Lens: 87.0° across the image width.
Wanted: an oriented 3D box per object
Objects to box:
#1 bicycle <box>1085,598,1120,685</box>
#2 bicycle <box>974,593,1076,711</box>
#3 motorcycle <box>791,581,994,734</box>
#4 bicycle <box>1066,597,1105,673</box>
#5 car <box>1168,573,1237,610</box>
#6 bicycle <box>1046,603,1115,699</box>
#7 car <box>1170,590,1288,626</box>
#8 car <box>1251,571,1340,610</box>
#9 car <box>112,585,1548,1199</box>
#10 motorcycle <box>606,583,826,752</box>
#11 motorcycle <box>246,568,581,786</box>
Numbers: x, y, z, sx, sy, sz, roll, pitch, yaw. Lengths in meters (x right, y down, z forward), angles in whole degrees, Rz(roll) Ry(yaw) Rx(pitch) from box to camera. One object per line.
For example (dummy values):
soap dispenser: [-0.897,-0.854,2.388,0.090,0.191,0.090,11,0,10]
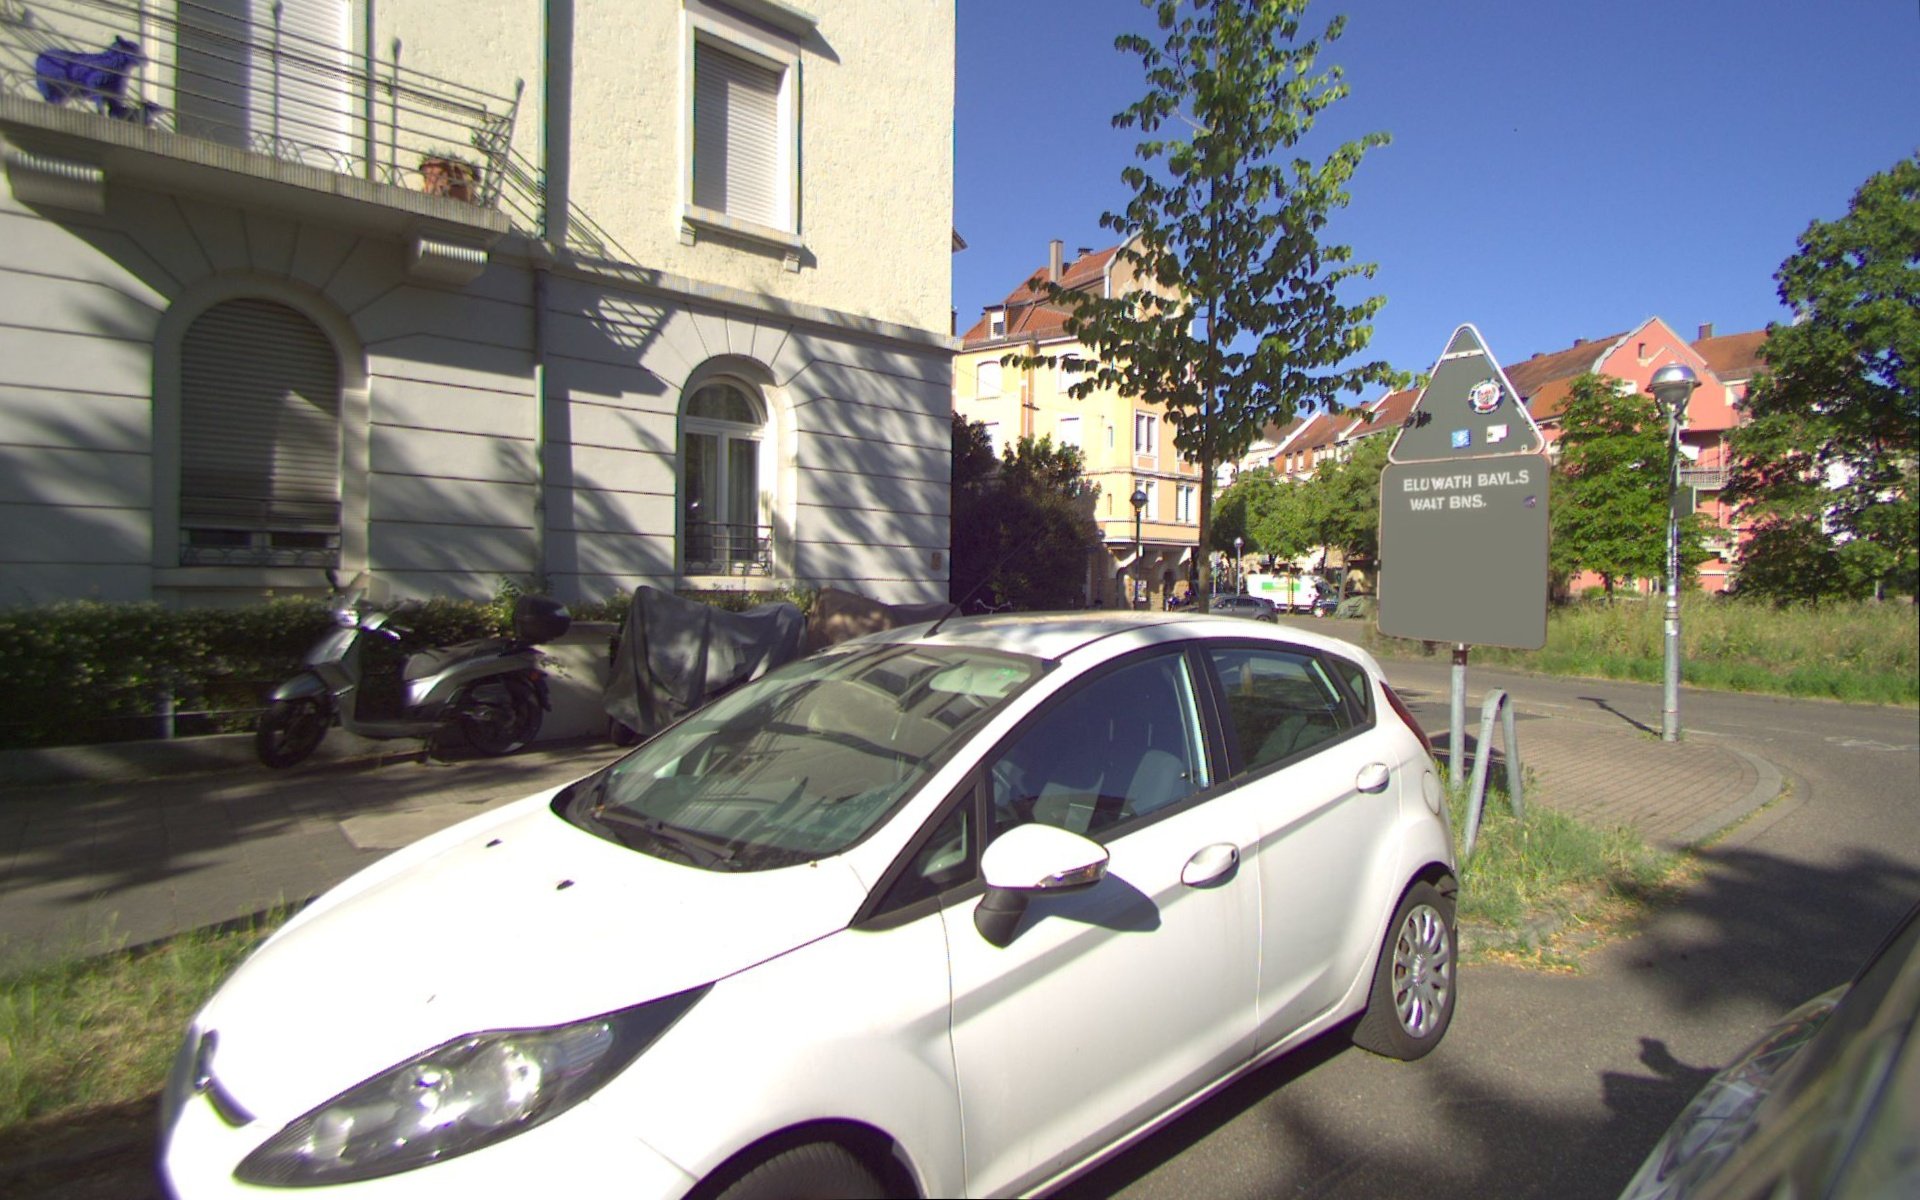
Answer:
bicycle: [2.065,0.569,14.795,0.437,1.163,1.776,1,1,6]
bicycle: [0.766,0.559,11.612,0.325,1.253,1.481,1,1,42]
motorcycle: [-0.628,0.497,9.898,0.970,1.345,1.823,0,1,44]
bicycle: [2.043,0.543,16.577,0.359,1.163,1.639,1,1,-2]
car: [14.590,-0.523,61.194,2.207,2.146,4.810,0,1,-12]
bicycle: [1.570,0.622,13.003,0.348,1.117,1.557,1,1,27]
car: [11.132,0.344,42.055,4.318,1.426,1.850,1,-1,-5]
car: [21.503,-0.617,64.977,5.147,2.391,2.017,1,1,29]
car: [0.120,0.685,3.039,4.064,1.420,1.655,0,1,-42]
motorcycle: [-2.069,0.518,8.758,0.656,1.295,1.772,3,2,43]
motorcycle: [-3.845,0.479,7.265,2.053,1.378,0.540,0,0,-41]
